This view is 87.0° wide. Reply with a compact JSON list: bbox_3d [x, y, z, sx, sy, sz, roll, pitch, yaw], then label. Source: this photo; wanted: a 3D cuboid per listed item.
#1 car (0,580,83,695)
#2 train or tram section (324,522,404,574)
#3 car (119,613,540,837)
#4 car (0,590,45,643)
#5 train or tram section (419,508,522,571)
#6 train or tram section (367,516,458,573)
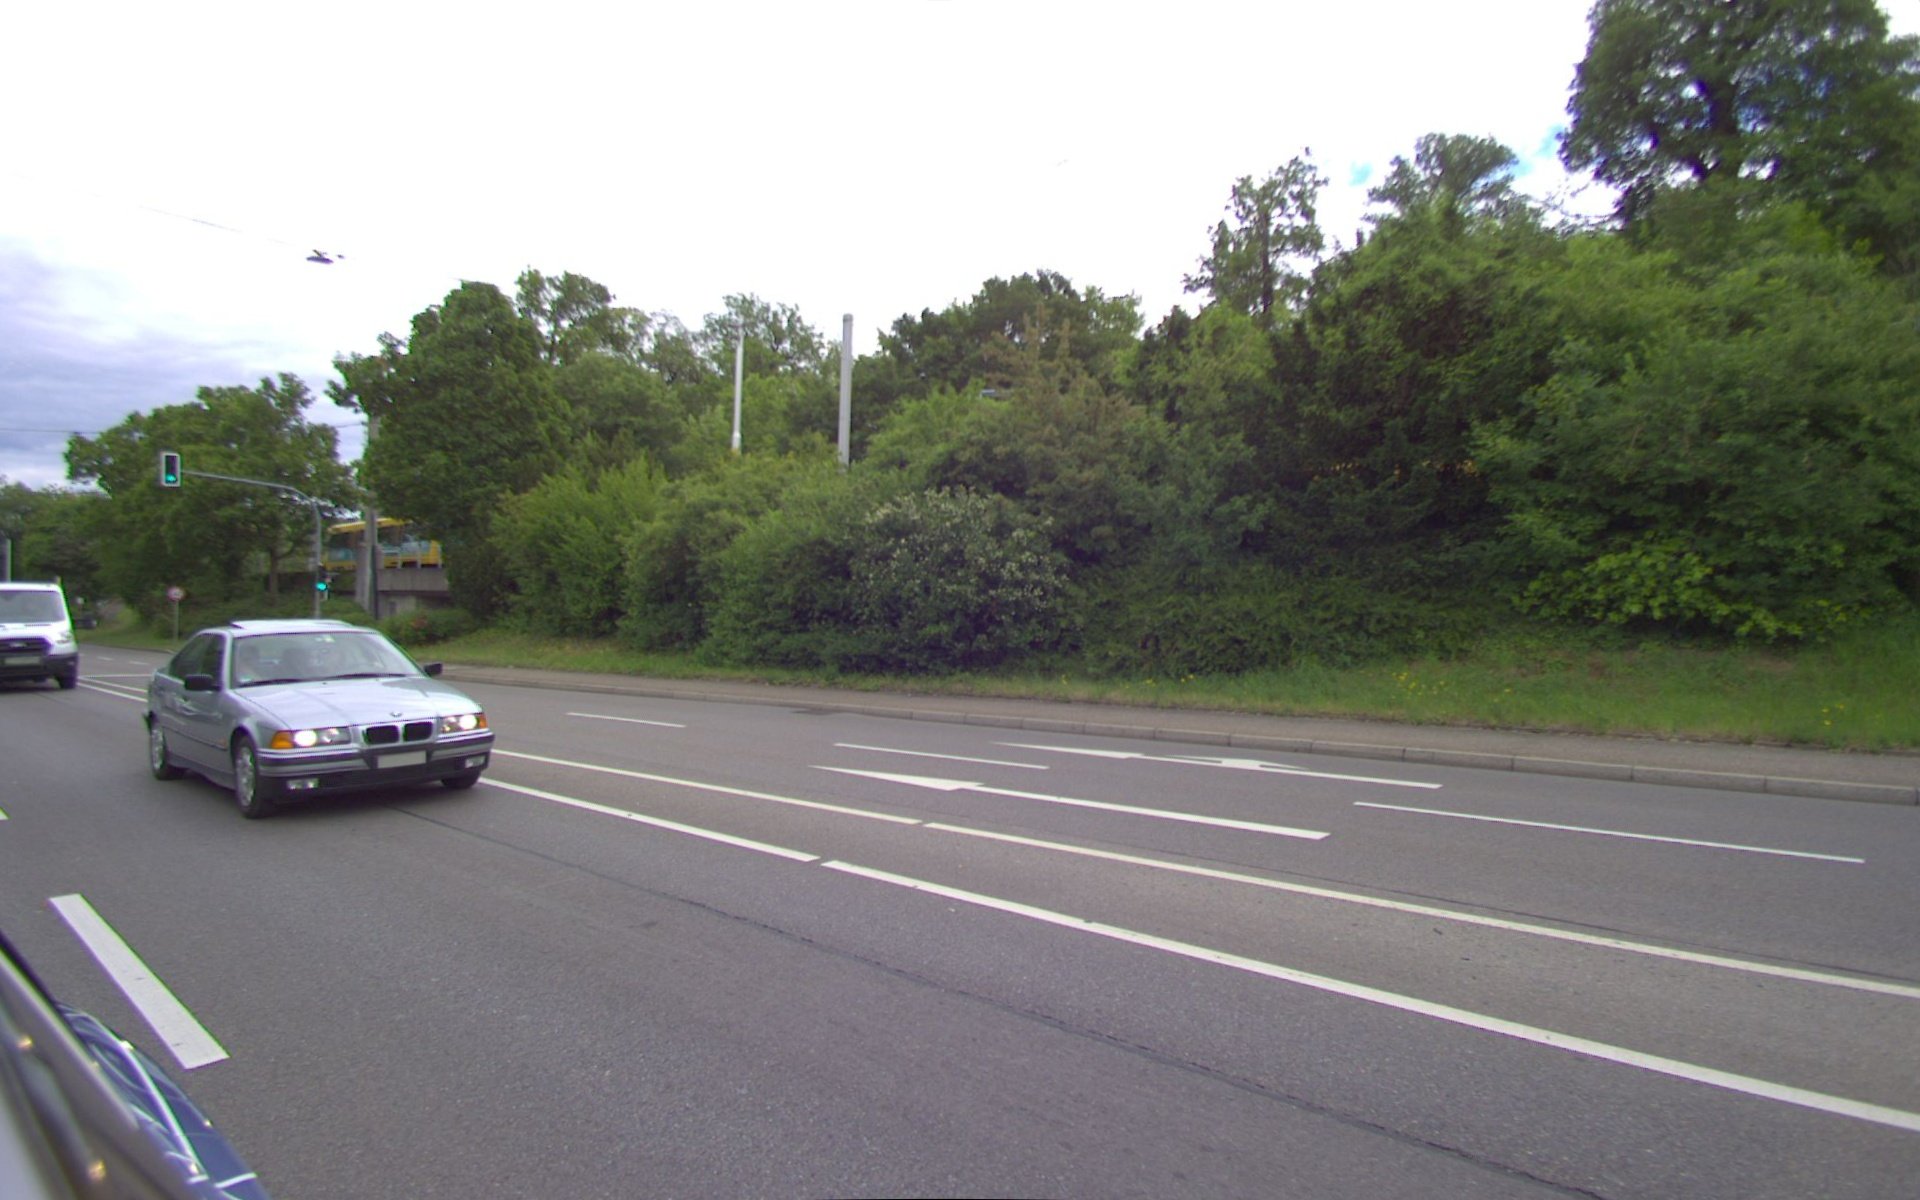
[{"bbox_3d":[-20.536,0.749,21.201,6.663,2.142,2.225,-1,-1,40],"label":"car"},{"bbox_3d":[-38.771,-3.268,65.665,8.149,3.066,2.036,0,1,41],"label":"train or tram section"},{"bbox_3d":[-5.499,0.830,8.551,4.612,1.404,1.734,-1,-2,41],"label":"car"},{"bbox_3d":[-58.216,1.016,62.005,7.229,3.079,2.247,-1,-1,40],"label":"car"},{"bbox_3d":[-26.591,-3.169,54.777,8.149,3.066,2.036,0,1,41],"label":"train or tram section"},{"bbox_3d":[-32.682,-3.196,60.212,8.149,3.066,2.036,0,1,41],"label":"train or tram section"}]
